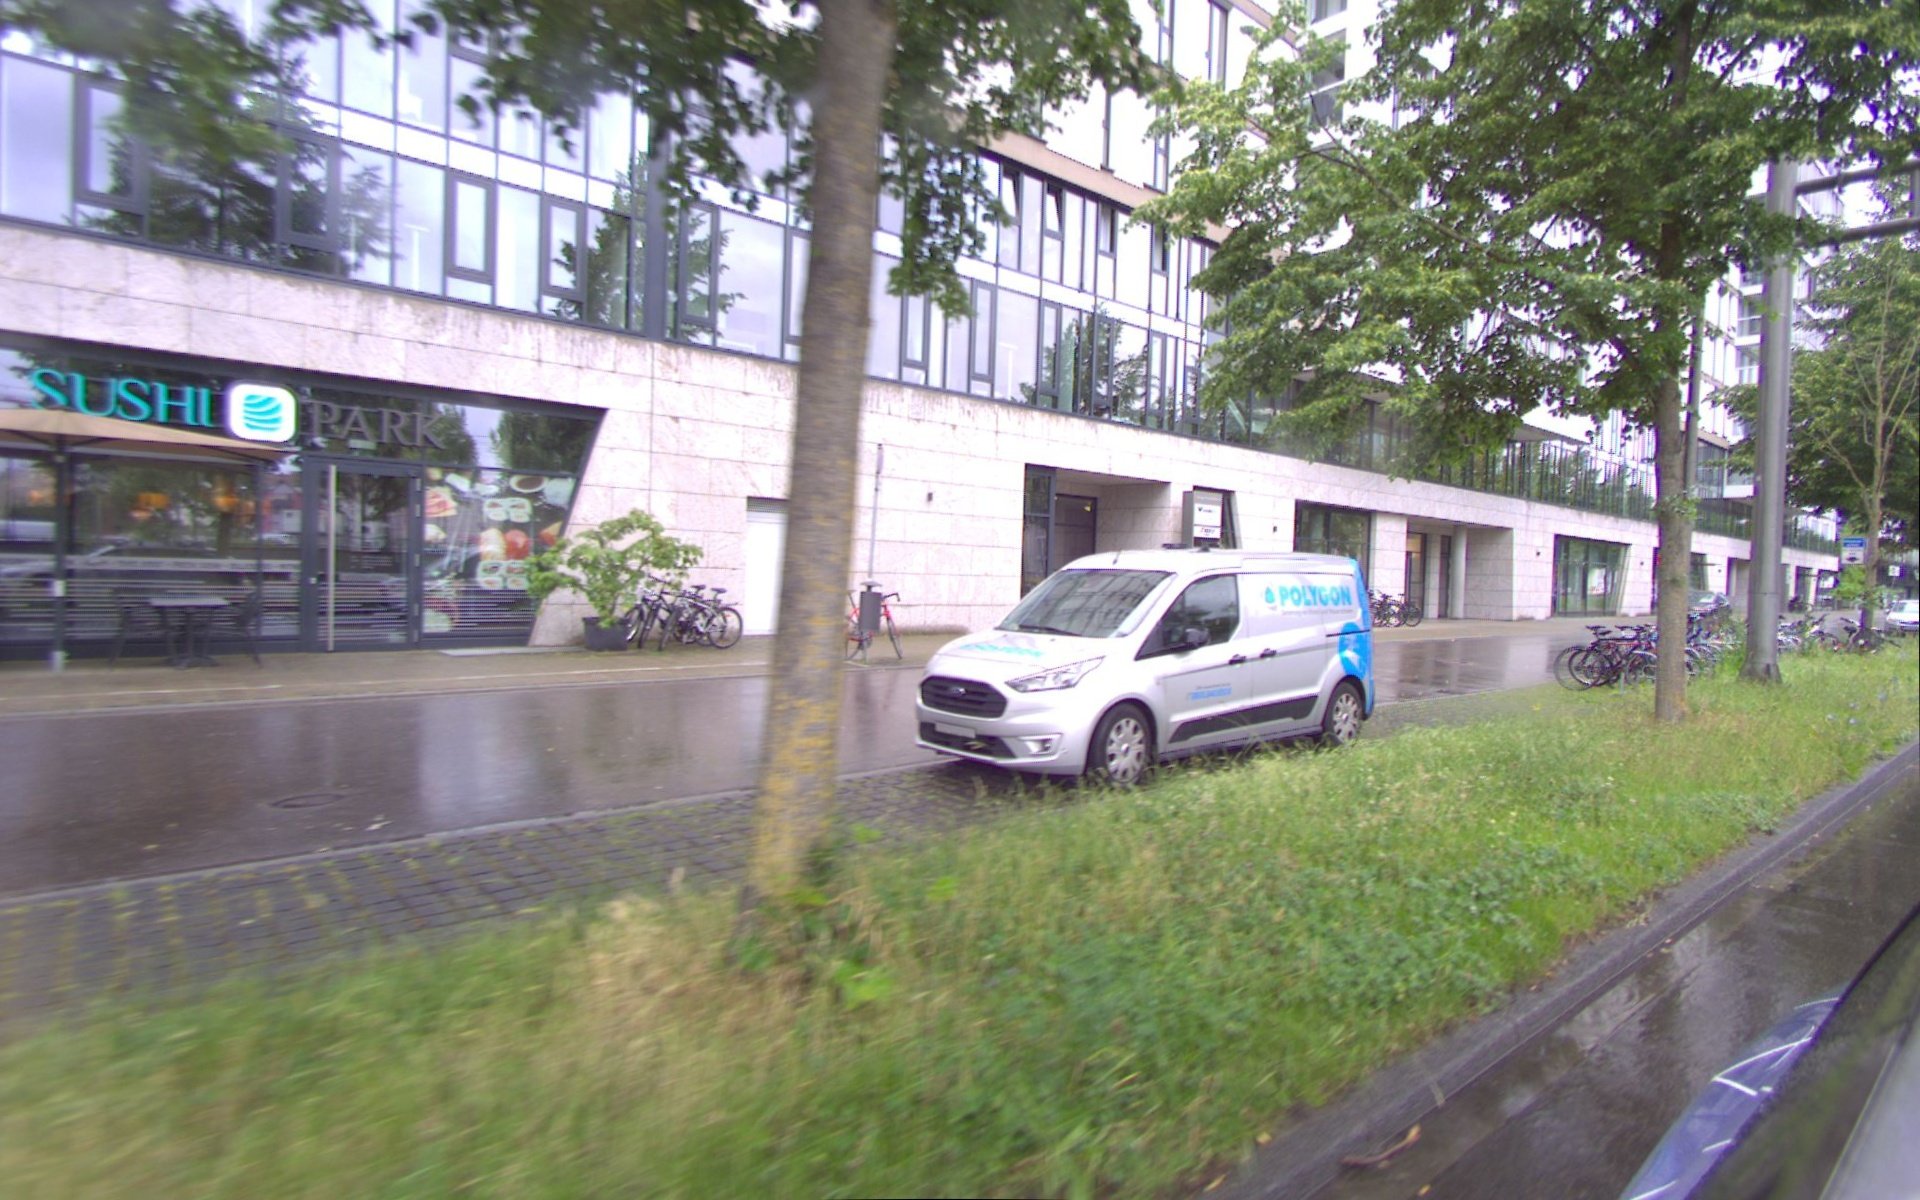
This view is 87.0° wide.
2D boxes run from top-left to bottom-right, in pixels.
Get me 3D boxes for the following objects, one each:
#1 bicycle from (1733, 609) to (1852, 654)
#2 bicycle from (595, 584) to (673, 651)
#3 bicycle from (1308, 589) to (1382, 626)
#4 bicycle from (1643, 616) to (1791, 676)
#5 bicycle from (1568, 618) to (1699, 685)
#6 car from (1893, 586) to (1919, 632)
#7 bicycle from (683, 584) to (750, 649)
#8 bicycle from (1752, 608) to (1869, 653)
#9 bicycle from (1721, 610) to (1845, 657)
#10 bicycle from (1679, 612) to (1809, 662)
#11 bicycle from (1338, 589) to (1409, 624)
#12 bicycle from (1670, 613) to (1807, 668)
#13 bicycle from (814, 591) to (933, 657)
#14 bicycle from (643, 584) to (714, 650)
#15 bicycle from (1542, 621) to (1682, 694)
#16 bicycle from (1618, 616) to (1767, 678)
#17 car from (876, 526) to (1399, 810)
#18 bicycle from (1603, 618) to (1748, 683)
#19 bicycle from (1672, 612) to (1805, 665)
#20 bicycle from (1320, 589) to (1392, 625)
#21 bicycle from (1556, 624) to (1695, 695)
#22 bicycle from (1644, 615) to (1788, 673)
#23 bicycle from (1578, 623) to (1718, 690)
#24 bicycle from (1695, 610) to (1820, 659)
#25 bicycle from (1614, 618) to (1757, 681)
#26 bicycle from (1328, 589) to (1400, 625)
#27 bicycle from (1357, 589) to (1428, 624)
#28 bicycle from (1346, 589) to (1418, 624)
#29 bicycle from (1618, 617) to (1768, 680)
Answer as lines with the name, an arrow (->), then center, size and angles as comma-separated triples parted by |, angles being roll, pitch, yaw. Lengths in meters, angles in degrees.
bicycle -> 18.811, 0.694, 22.918 | 0.510, 0.958, 2.036 | 0, 0, -43
bicycle -> -4.954, 0.239, 15.492 | 0.388, 0.958, 2.027 | 0, 0, 5
bicycle -> 11.318, 0.197, 29.793 | 0.389, 0.957, 2.026 | 0, 3, -43
bicycle -> 13.158, 0.774, 17.645 | 0.389, 0.958, 2.036 | 0, 0, -43
bicycle -> 10.401, 0.777, 15.668 | 0.389, 0.958, 1.646 | 0, 0, -43
car -> 38.176, 0.331, 39.872 | 3.930, 1.742, 1.657 | -1, 0, -41
bicycle -> -3.768, 0.233, 15.799 | 0.388, 0.958, 2.027 | 0, 0, 5
bicycle -> 19.641, 0.685, 23.420 | 0.510, 0.958, 2.036 | 0, 0, -43
bicycle -> 17.813, 0.708, 21.945 | 0.510, 0.958, 2.036 | 0, 0, -43
bicycle -> 15.953, 0.731, 20.640 | 0.533, 0.958, 2.036 | 0, 0, -43
bicycle -> 12.668, 0.179, 31.049 | 0.389, 0.957, 2.026 | 0, 3, -43
bicycle -> 14.812, 0.749, 19.307 | 0.389, 0.958, 2.036 | 0, 0, -43
bicycle -> -1.304, 0.344, 15.434 | 1.822, 0.957, 0.403 | 0, 1, -33
bicycle -> -4.334, 0.234, 15.712 | 0.388, 0.958, 2.027 | 0, 0, 5
bicycle -> 9.418, 0.803, 14.658 | 0.389, 0.958, 1.663 | 0, 0, -43
bicycle -> 12.494, 0.781, 17.323 | 0.389, 0.958, 2.036 | 0, 0, -43
car -> 1.736, 0.385, 8.582 | 4.764, 1.781, 1.745 | 0, 2, -41
bicycle -> 11.465, 0.785, 16.273 | 0.389, 0.958, 1.858 | 0, 0, -43
bicycle -> 15.307, 0.741, 19.949 | 0.458, 0.958, 2.036 | 0, 0, -43
bicycle -> 11.821, 0.195, 30.265 | 0.389, 0.957, 2.026 | 0, 3, -43
bicycle -> 9.923, 0.867, 15.149 | 0.389, 0.958, 1.695 | 0, 0, -43
bicycle -> 13.519, 0.767, 18.159 | 0.389, 0.958, 2.036 | 0, 0, -43
bicycle -> 10.844, 0.870, 16.004 | 0.389, 0.958, 1.789 | 0, 0, -43
bicycle -> 16.910, 0.717, 21.514 | 0.532, 0.958, 2.036 | 0, 0, -43
bicycle -> 11.887, 0.787, 16.631 | 0.389, 0.958, 1.879 | 0, 0, -43
bicycle -> 12.233, 0.192, 30.680 | 0.389, 0.957, 2.026 | 0, 3, -43
bicycle -> 13.592, 0.183, 31.860 | 0.389, 0.957, 2.026 | 0, 3, -43
bicycle -> 13.059, 0.182, 31.377 | 0.389, 0.957, 2.026 | 0, 3, -43
bicycle -> 12.238, 0.786, 16.966 | 0.389, 0.958, 2.003 | 0, 0, -43
